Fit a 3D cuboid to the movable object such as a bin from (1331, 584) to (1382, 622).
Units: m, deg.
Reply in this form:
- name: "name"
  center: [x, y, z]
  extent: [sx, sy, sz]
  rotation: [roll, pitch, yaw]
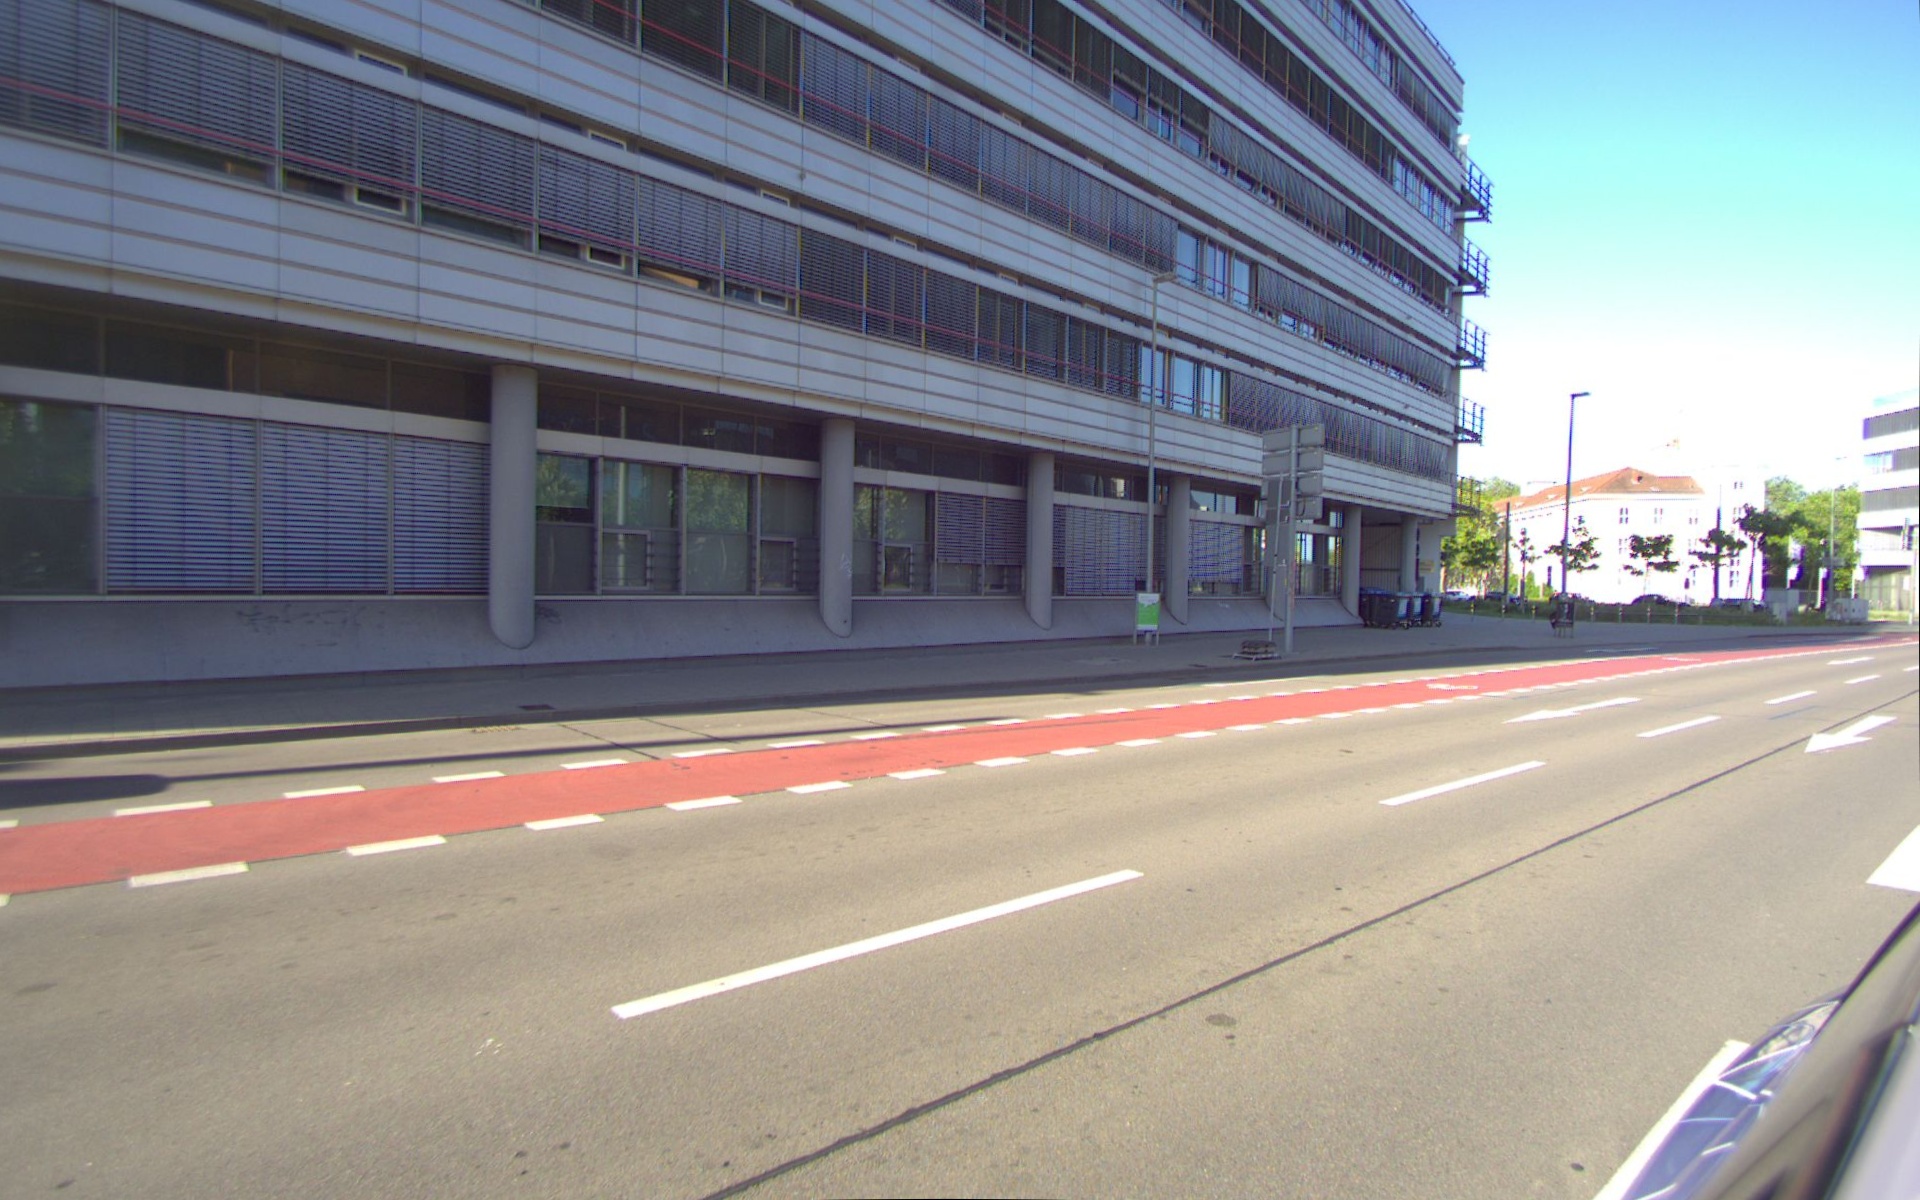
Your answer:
- name: "movable object such as a bin"
  center: [14.471, 0.107, 36.918]
  extent: [1.153, 1.317, 1.327]
  rotation: [0, 2, -40]

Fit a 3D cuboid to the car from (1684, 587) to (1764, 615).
- name: "car"
  center: [45.865, 0.049, 60.830]
  extent: [1.706, 1.551, 3.806]
  rotation: [1, 1, -4]

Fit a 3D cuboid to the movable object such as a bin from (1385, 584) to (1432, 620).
- name: "movable object such as a bin"
  center: [17.102, 0.073, 38.602]
  extent: [1.305, 1.317, 1.173]
  rotation: [0, 2, -40]

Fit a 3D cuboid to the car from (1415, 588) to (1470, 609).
- name: "car"
  center: [39.950, -0.147, 83.816]
  extent: [1.705, 1.551, 3.807]
  rotation: [0, 2, -28]

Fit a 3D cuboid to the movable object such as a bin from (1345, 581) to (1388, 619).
- name: "movable object such as a bin"
  center: [15.517, -0.004, 38.615]
  extent: [1.088, 1.391, 1.109]
  rotation: [0, 1, -40]

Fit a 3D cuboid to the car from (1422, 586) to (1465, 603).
- name: "car"
  center: [49.303, -0.586, 103.298]
  extent: [3.773, 1.551, 1.720]
  rotation: [2, 2, 32]

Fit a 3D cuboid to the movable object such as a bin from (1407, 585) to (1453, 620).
- name: "movable object such as a bin"
  center: [18.245, 0.091, 39.293]
  extent: [1.305, 1.317, 1.173]
  rotation: [0, 2, -40]

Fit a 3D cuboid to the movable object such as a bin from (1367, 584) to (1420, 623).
- name: "movable object such as a bin"
  center: [15.365, 0.115, 35.889]
  extent: [1.153, 1.317, 1.327]
  rotation: [0, 2, -40]
